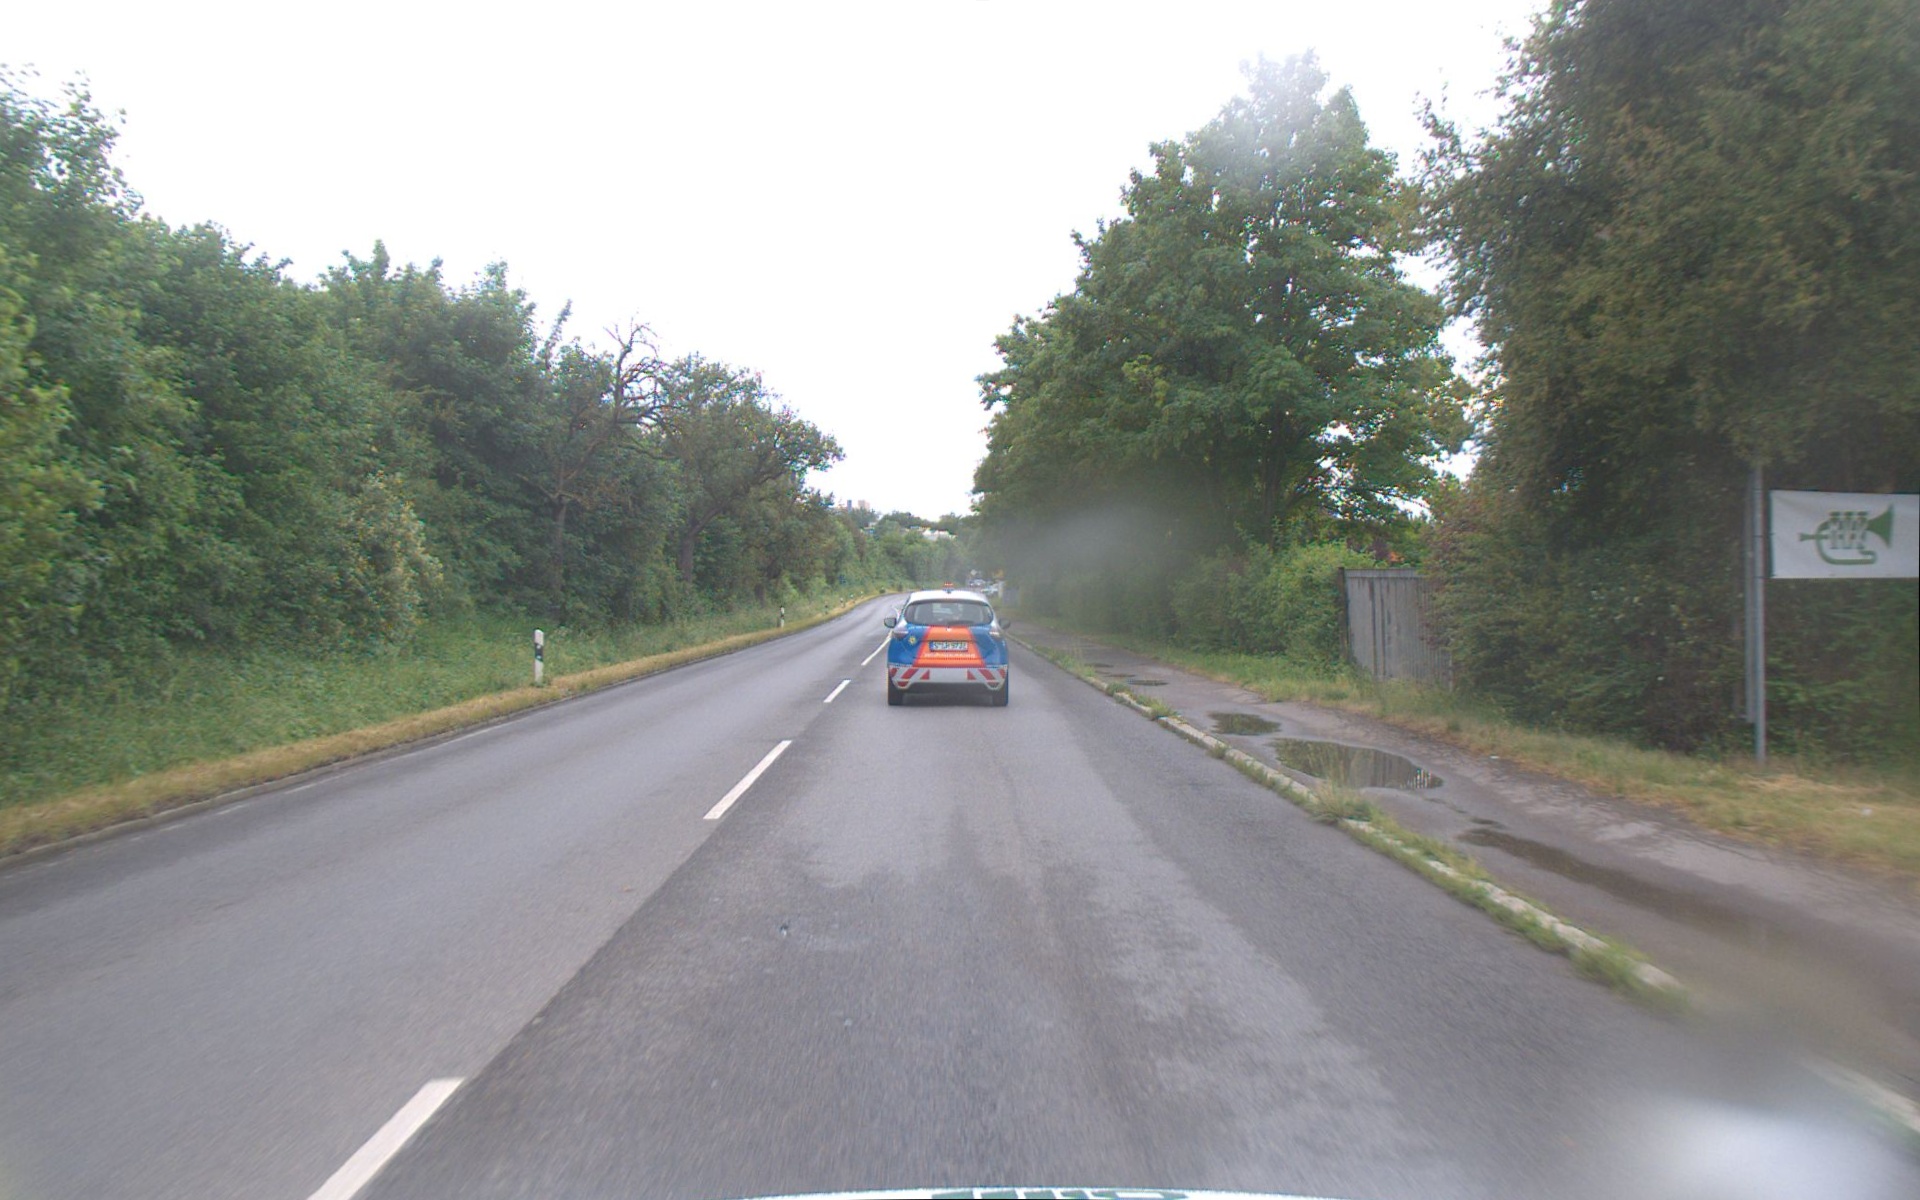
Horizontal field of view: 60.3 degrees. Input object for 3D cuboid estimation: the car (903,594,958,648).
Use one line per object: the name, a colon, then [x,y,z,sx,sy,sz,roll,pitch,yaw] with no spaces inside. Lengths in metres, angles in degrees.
car: [-0.929,0.640,52.061,1.659,1.623,3.855,1,0,-1]

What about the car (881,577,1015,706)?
car: [-0.198,0.556,23.999,1.769,1.697,3.855,1,0,-1]
